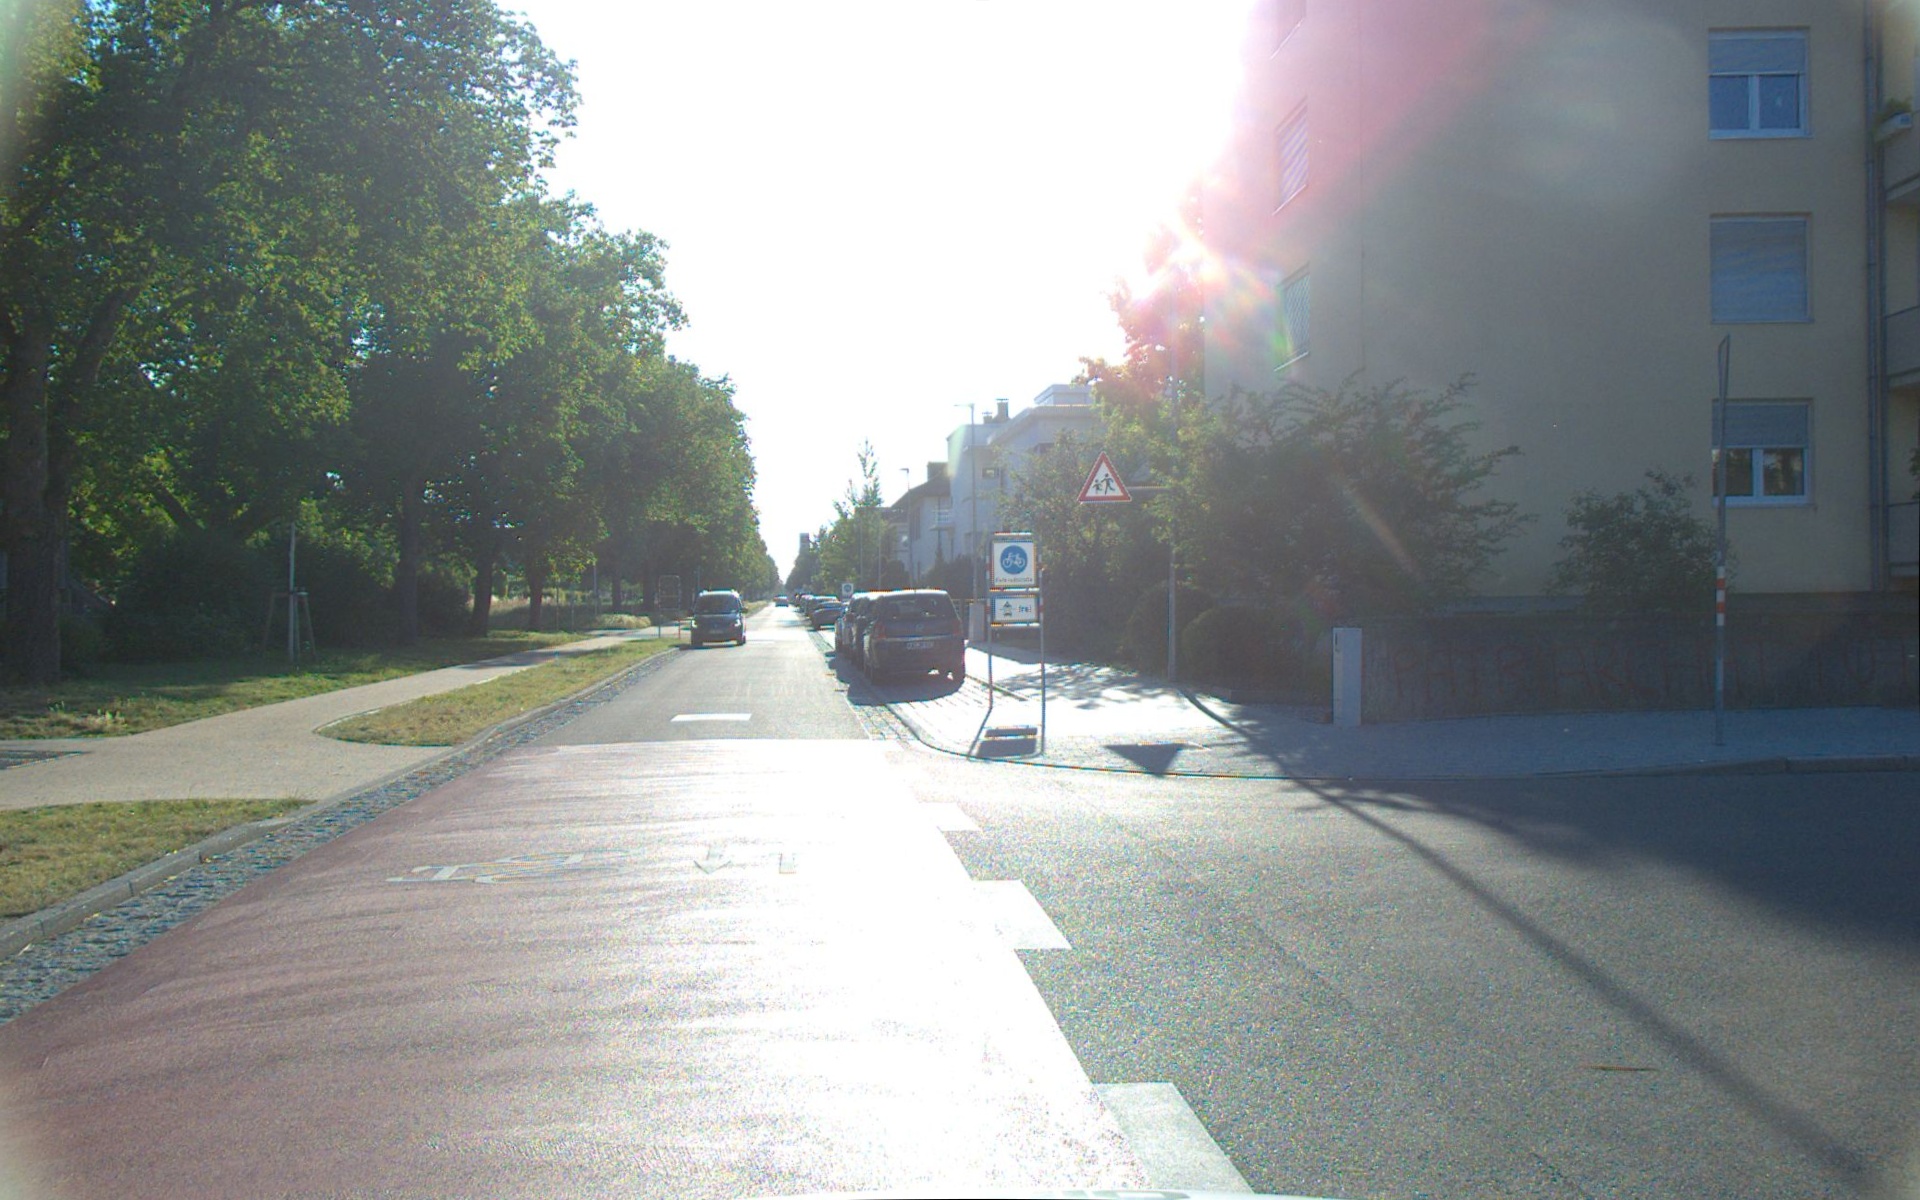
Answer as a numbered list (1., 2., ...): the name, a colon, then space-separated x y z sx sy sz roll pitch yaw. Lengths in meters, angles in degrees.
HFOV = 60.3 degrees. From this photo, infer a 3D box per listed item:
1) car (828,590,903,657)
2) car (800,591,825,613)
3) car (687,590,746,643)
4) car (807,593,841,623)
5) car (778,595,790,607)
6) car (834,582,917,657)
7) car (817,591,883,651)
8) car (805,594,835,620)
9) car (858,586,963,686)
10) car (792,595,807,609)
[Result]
1. car: -2.660 0.634 46.672 1.954 1.747 3.997 -2 0 -3
2. car: -10.267 0.144 115.139 1.595 1.434 4.243 -2 0 -6
3. car: -8.243 0.542 56.303 1.791 1.698 4.243 -2 0 -6
4. car: -6.938 0.390 84.059 1.595 1.434 4.243 -2 0 -6
5. car: -24.713 0.109 232.138 1.595 1.698 4.243 -2 0 -6
6. car: -2.161 0.466 41.940 1.954 1.747 3.997 -2 0 -3
7. car: -3.419 0.639 51.854 1.954 1.747 3.997 -2 0 -3
8. car: -8.113 0.388 95.425 1.595 1.434 4.243 -2 0 -6
9. car: -0.992 0.620 30.936 1.595 1.698 4.243 -2 0 -6
10. car: -17.789 0.212 183.406 1.595 1.434 4.243 -2 0 -6
